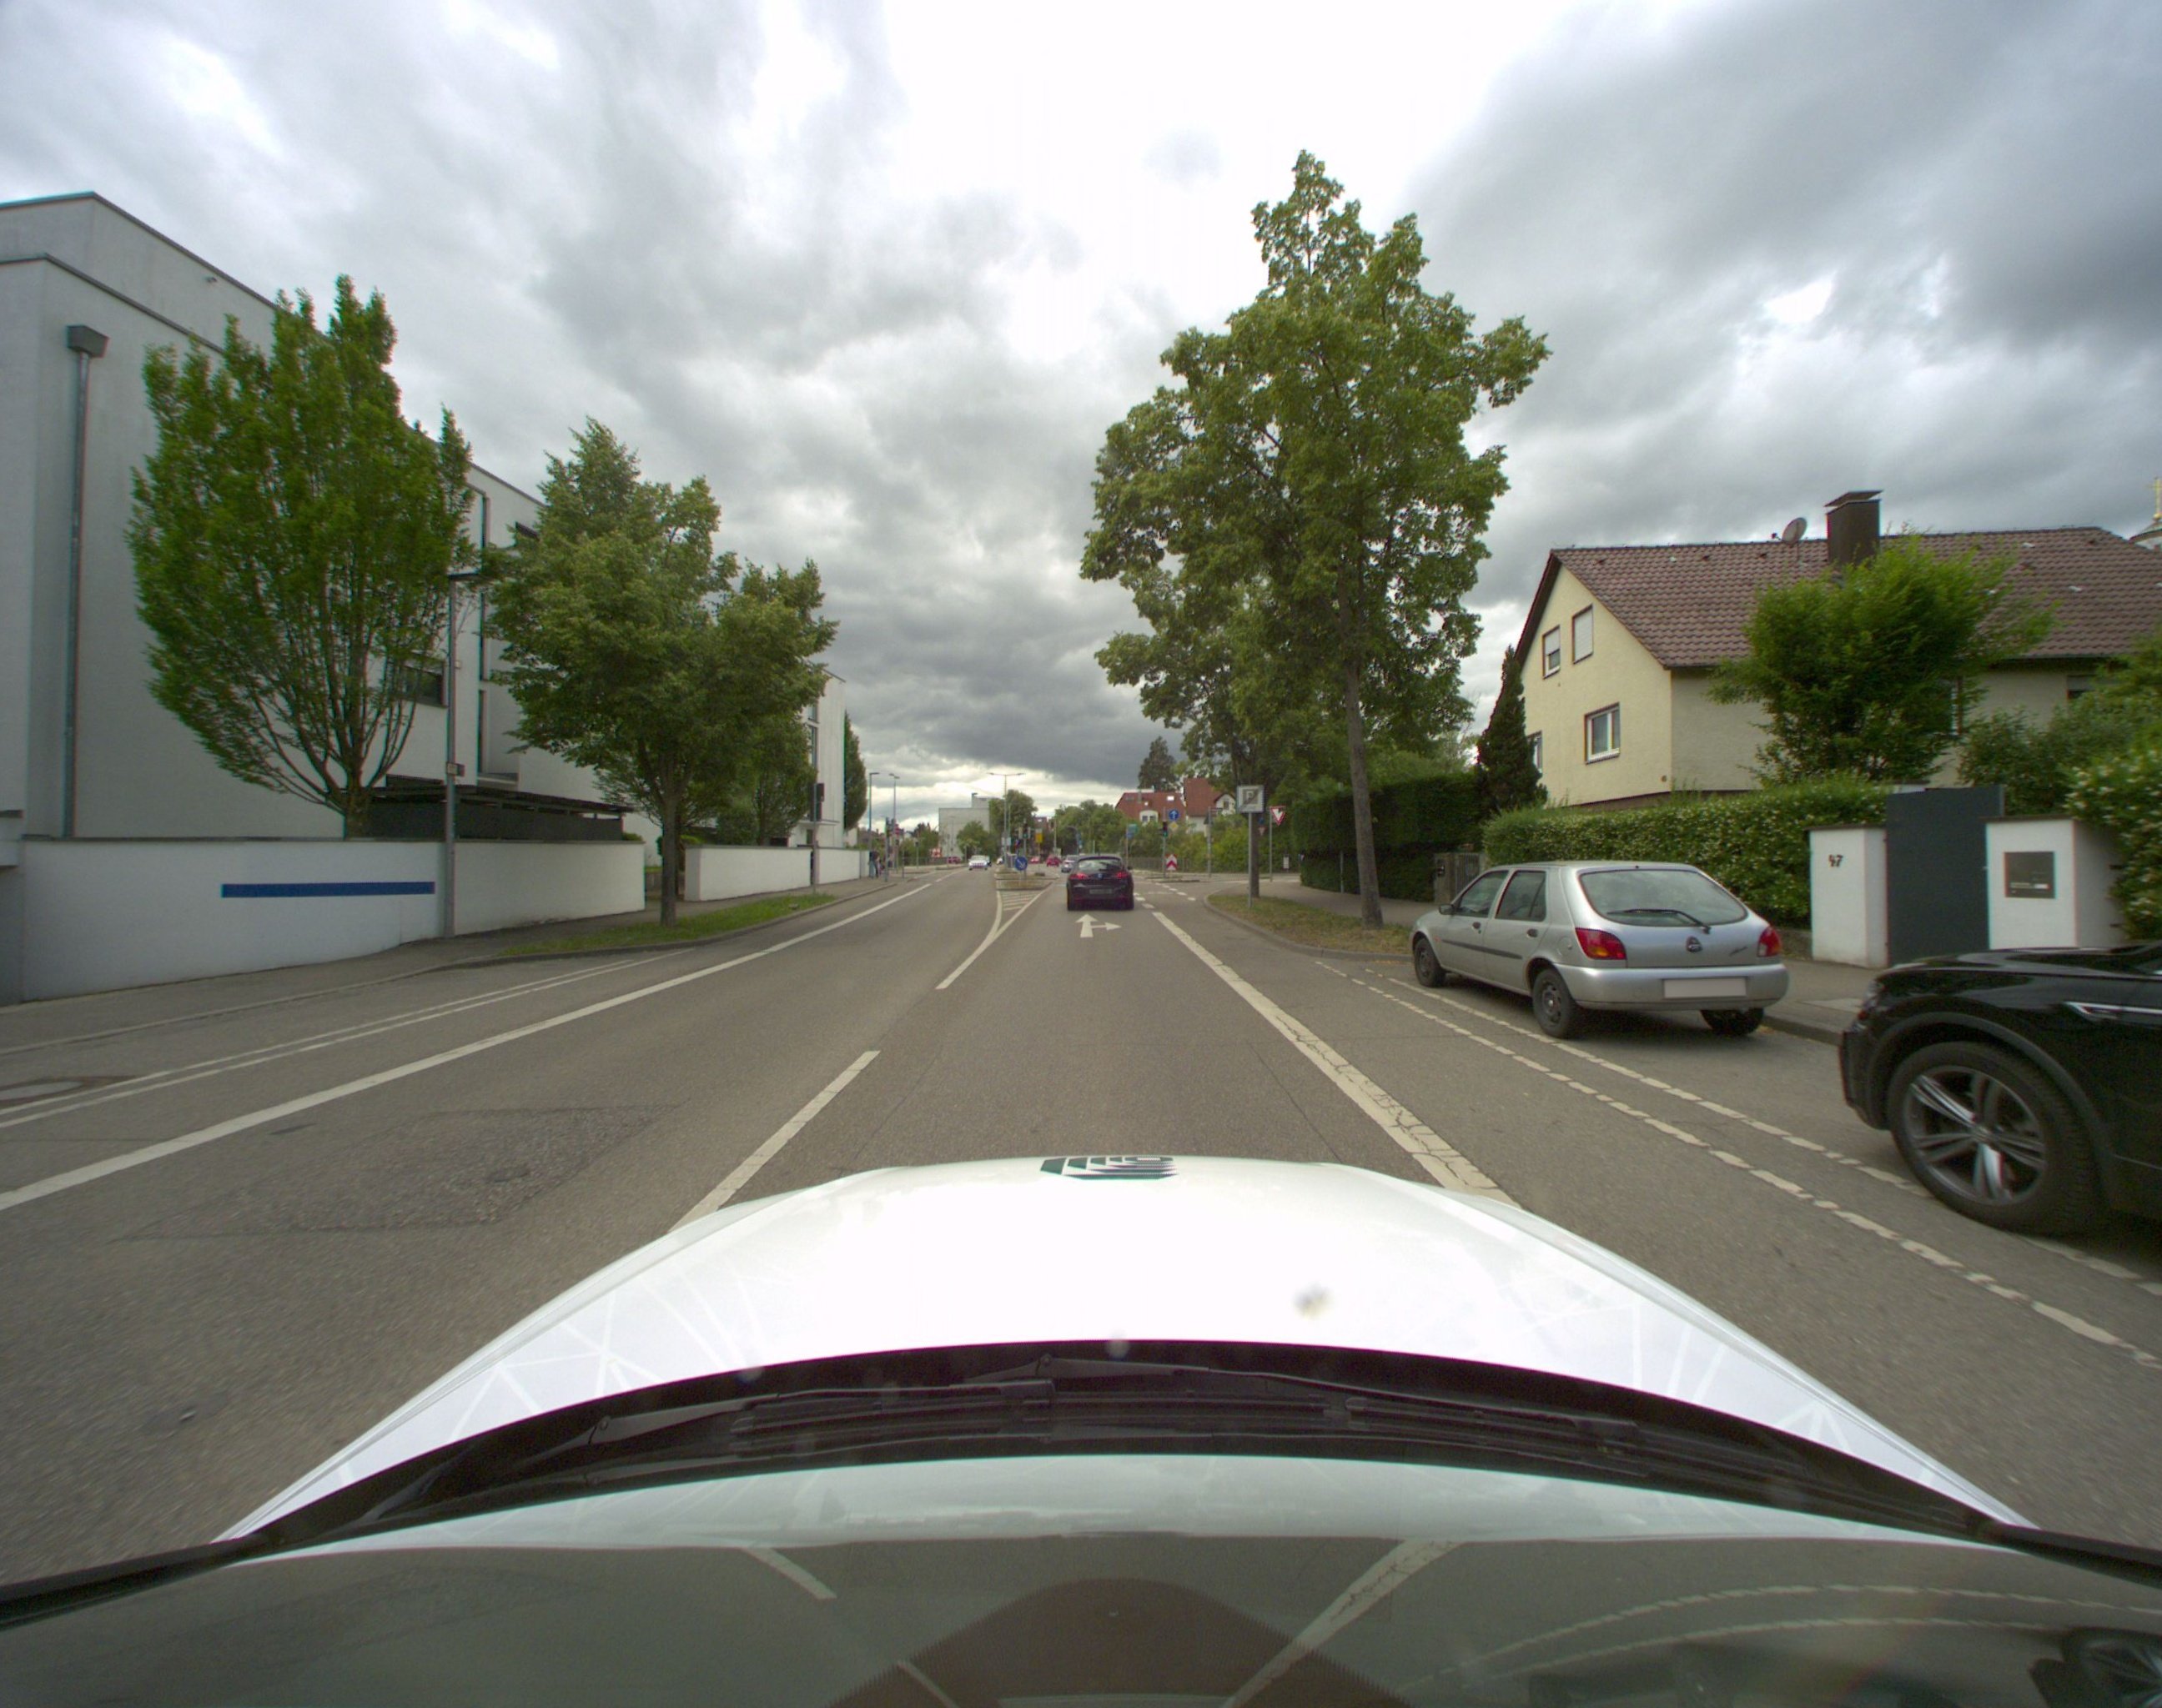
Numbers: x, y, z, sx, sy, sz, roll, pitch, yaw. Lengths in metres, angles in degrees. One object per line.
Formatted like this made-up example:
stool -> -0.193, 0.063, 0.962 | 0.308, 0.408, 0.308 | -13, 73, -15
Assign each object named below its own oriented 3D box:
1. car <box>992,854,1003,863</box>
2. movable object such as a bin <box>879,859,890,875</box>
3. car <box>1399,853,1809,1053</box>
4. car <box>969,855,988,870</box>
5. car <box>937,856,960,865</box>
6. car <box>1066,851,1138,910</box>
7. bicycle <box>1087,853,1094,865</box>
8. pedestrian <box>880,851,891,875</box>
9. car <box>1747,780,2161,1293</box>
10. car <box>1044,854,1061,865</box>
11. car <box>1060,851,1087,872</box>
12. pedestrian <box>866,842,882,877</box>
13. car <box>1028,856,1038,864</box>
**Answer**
car -> -13.108, 0.758, 127.231 | 1.641, 1.409, 3.810 | 0, 0, -6
movable object such as a bin -> -12.974, 0.852, 53.786 | 0.496, 0.960, 0.984 | 4, -1, -7
car -> 4.419, 0.703, 7.573 | 1.552, 1.351, 3.540 | -2, 0, 1
car -> -10.091, 0.831, 80.686 | 1.796, 1.444, 3.939 | -1, 0, -6
car -> -23.555, 1.077, 145.135 | 3.991, 1.552, 1.741 | 0, 0, -13
car -> 0.492, 0.648, 22.025 | 1.754, 1.448, 3.712 | -1, 0, -1
bicycle -> 1.260, 0.619, 108.626 | 0.888, 1.510, 2.783 | -1, 0, 1
pedestrian -> -13.092, 0.592, 54.608 | 0.531, 1.543, 0.730 | 4, -1, -7
car -> 4.299, 0.574, 1.977 | 1.759, 1.636, 4.550 | -1, 0, 2
car -> -3.843, 0.708, 109.594 | 1.939, 1.481, 4.243 | -1, 0, -7
car -> -0.694, 0.584, 68.163 | 1.817, 1.699, 4.243 | -1, 0, -7
pedestrian -> -11.693, 0.322, 46.039 | 0.647, 1.948, 0.870 | 2, -1, -5
car -> -8.898, 1.076, 150.942 | 1.718, 1.448, 4.057 | 0, 0, -6
